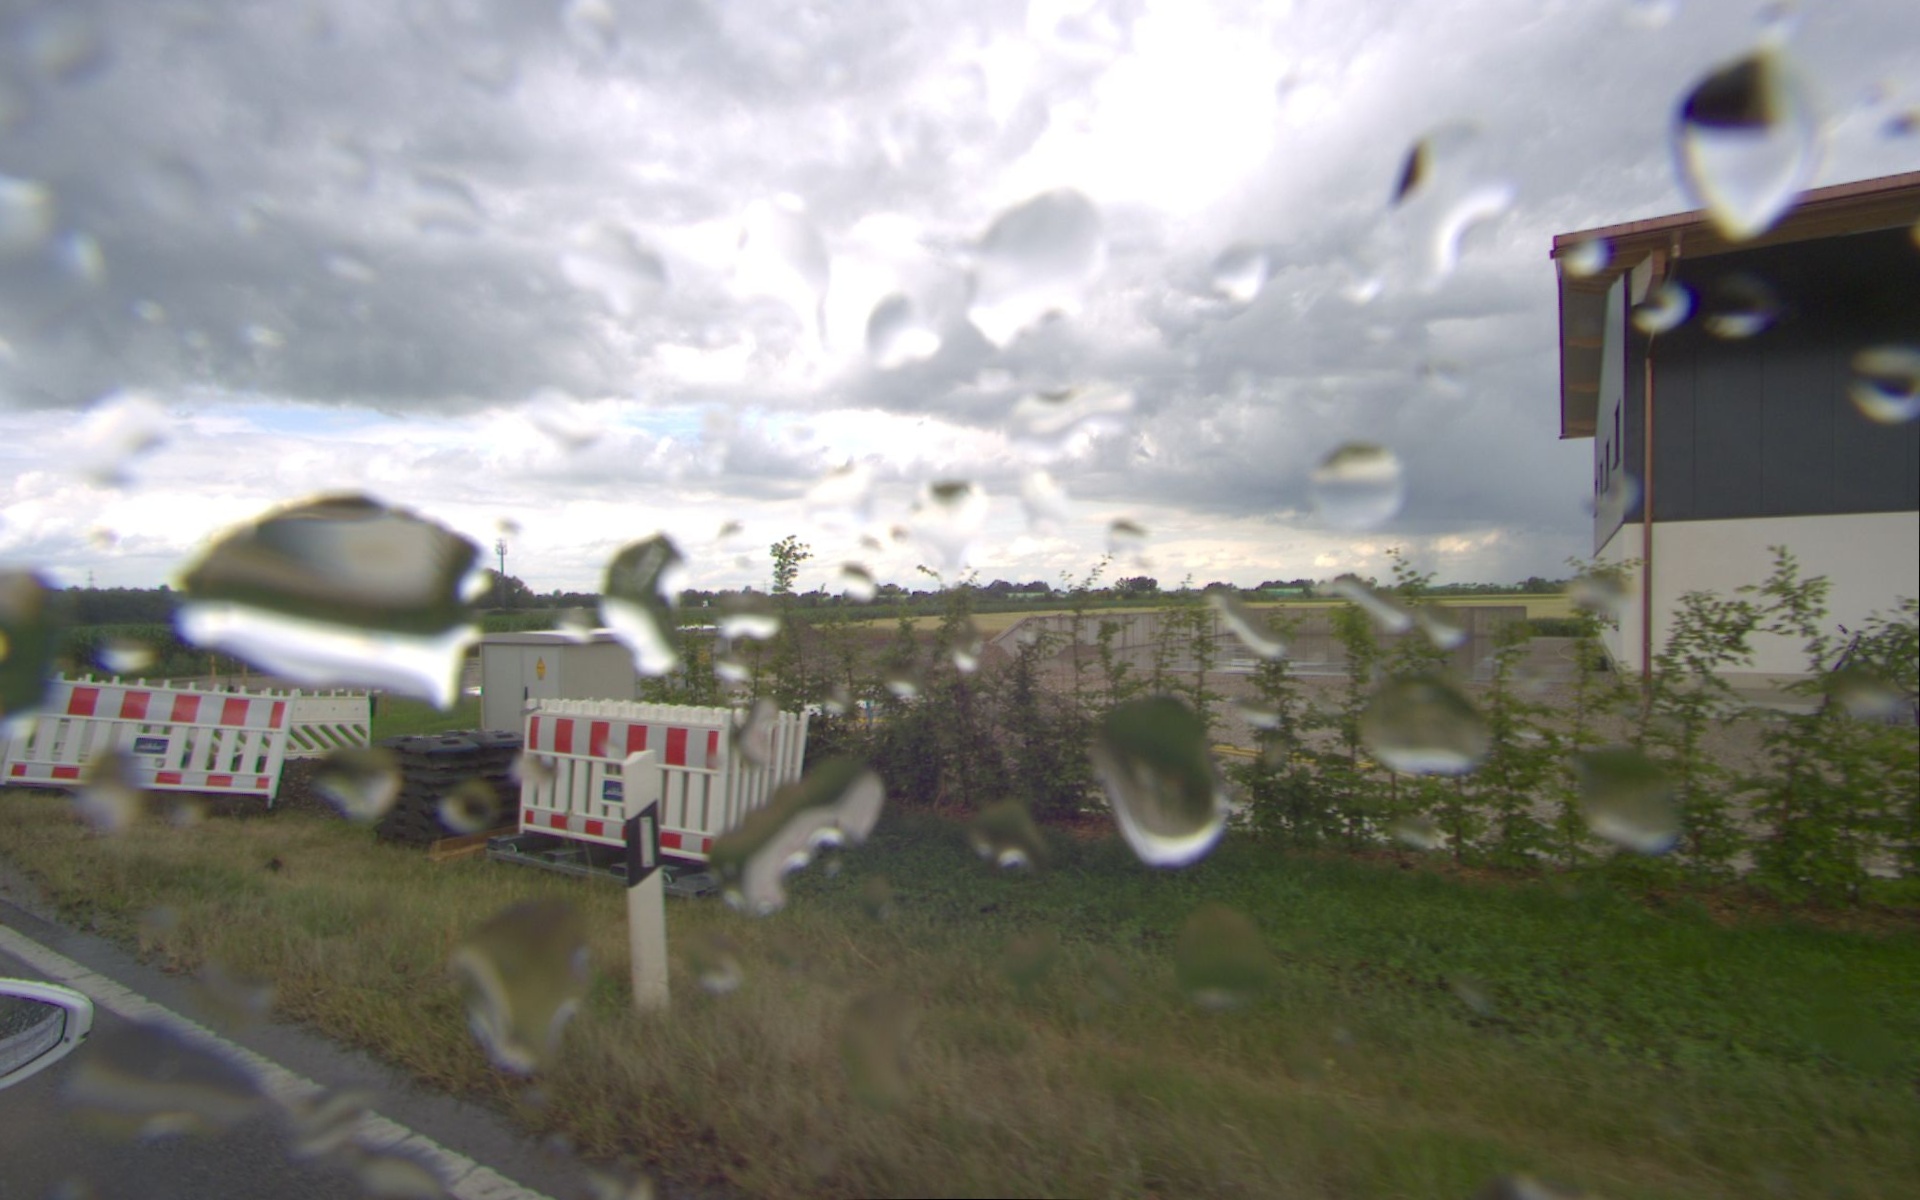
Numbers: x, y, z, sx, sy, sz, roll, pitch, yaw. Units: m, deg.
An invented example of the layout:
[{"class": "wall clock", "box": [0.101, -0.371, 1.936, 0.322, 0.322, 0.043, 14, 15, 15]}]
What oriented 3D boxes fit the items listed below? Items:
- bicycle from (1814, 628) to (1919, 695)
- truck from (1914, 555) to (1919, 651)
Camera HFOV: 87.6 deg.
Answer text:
[{"class": "bicycle", "box": [15.592, 1.028, 16.980, 1.637, 1.086, 0.389, -1, 1, 33]}, {"class": "truck", "box": [28.885, 0.046, 25.699, 6.069, 2.642, 2.112, -1, 0, 33]}]
